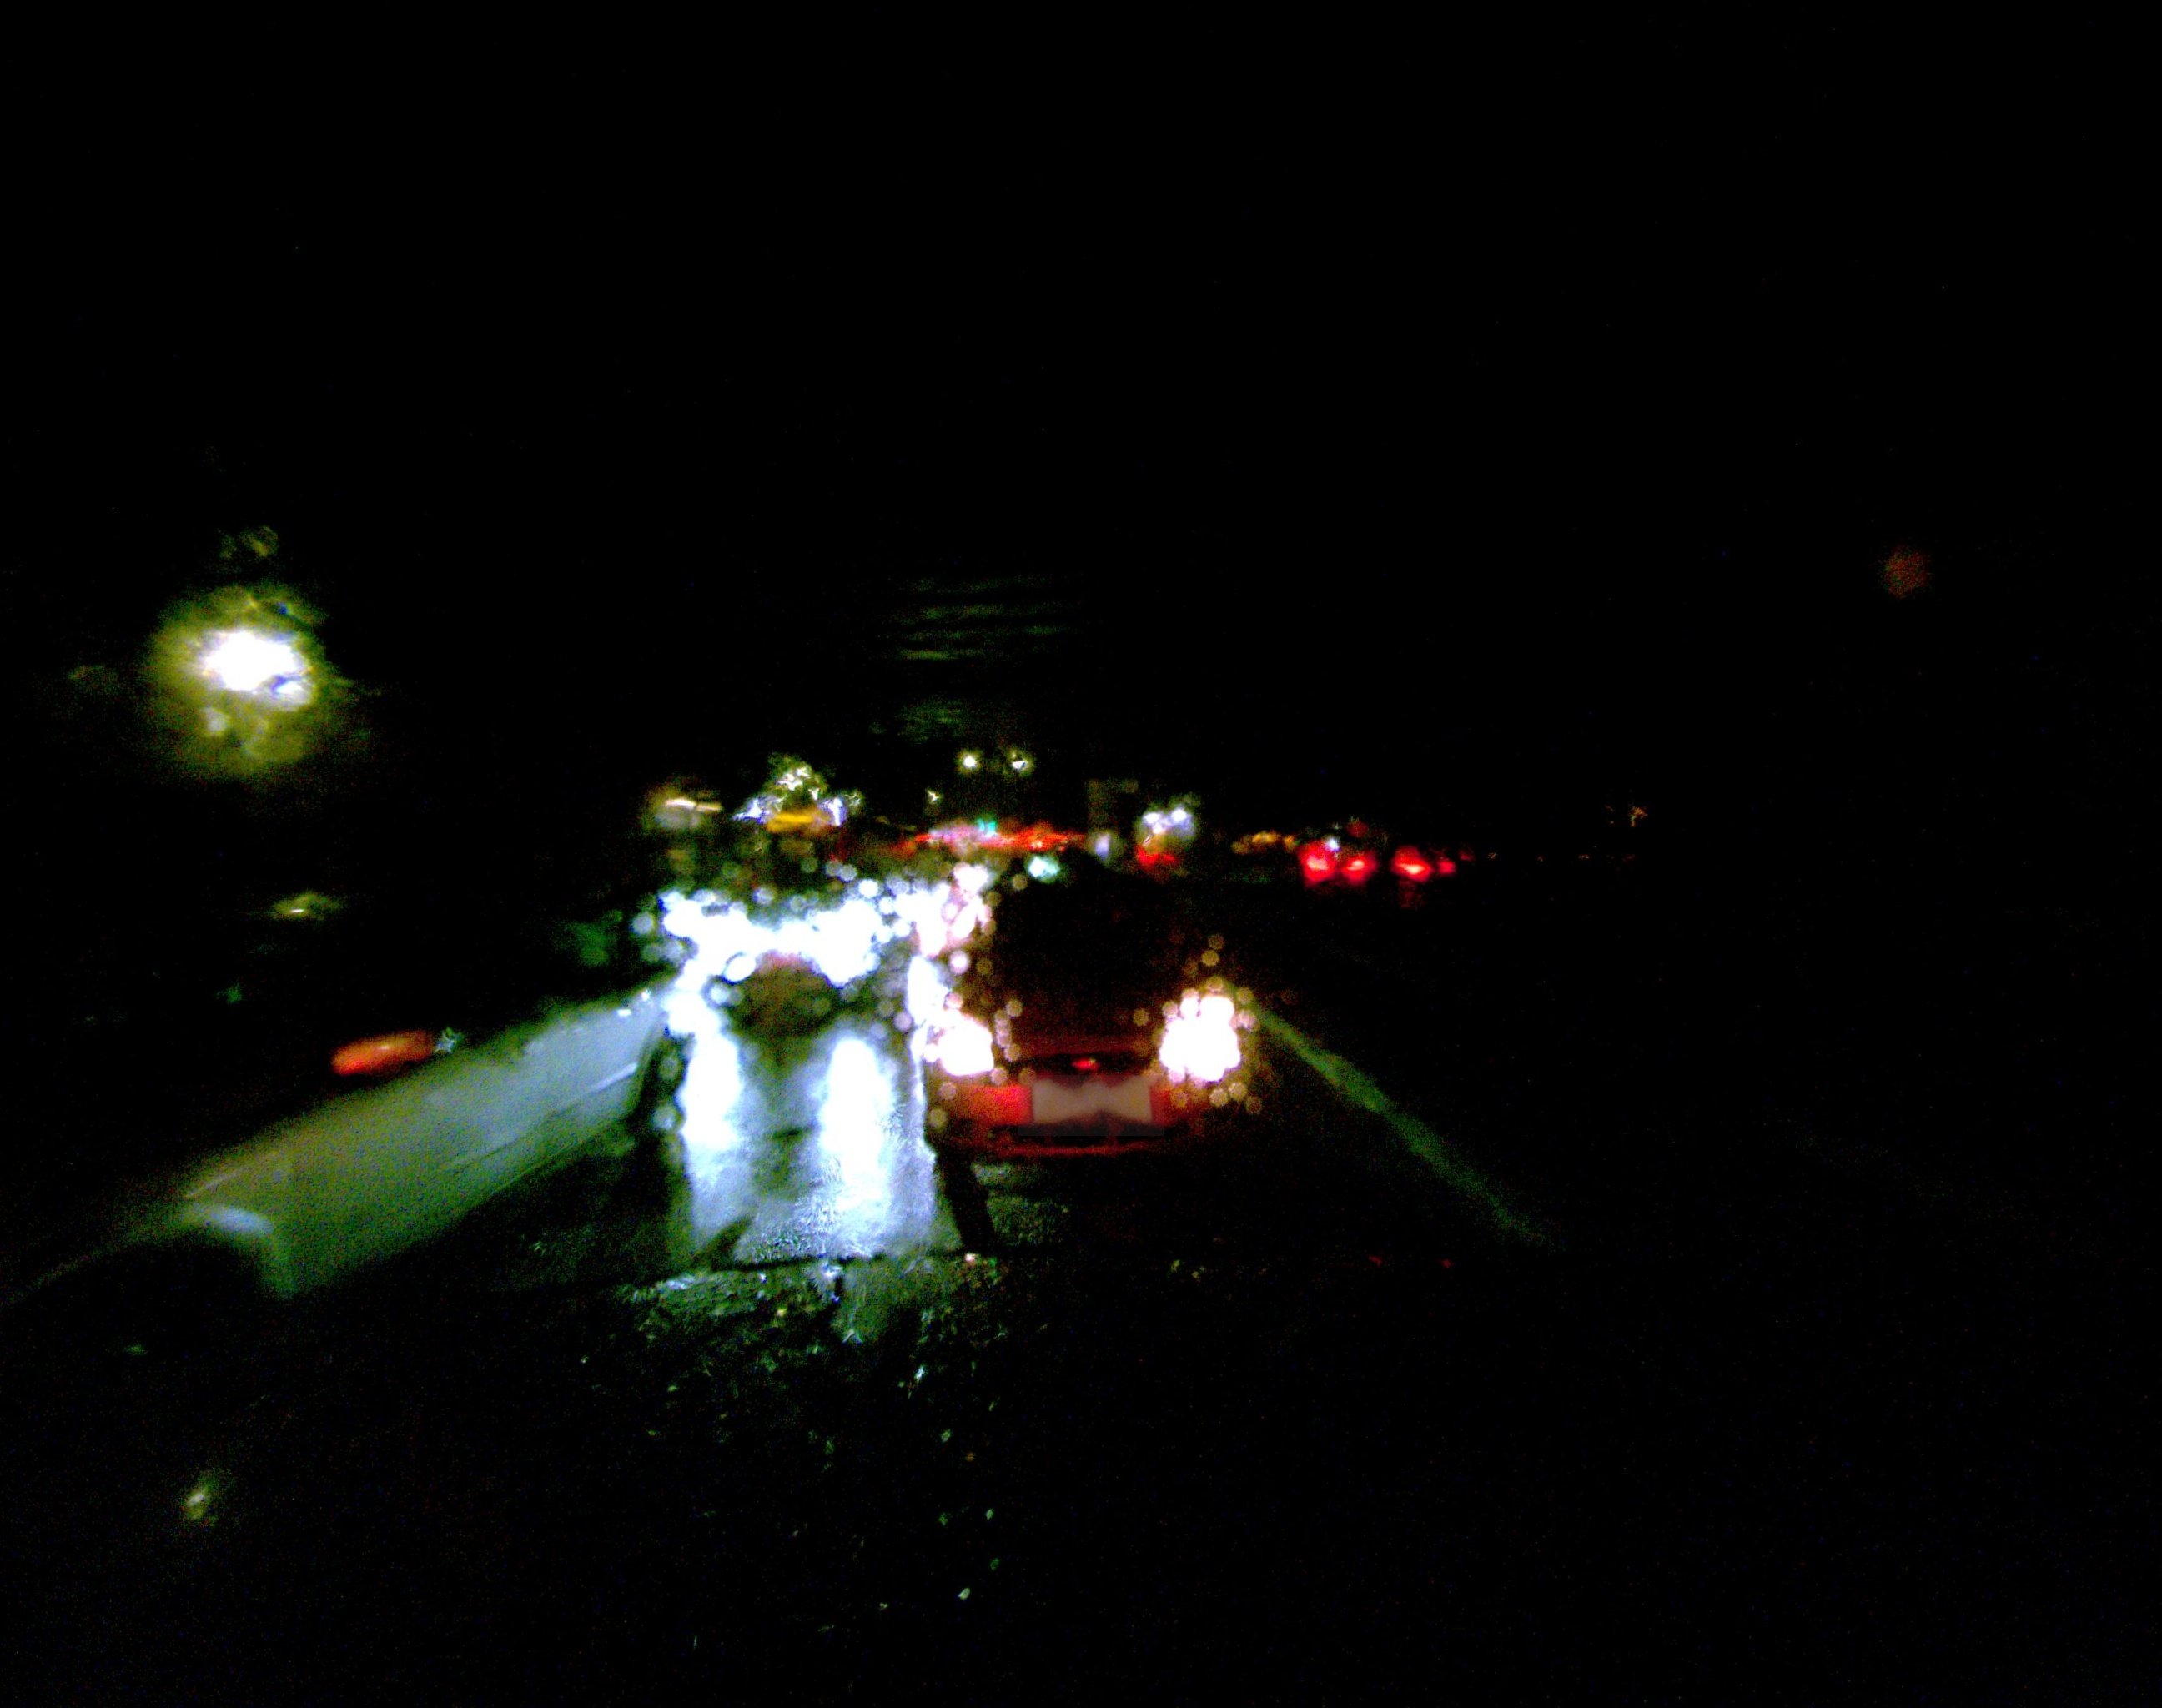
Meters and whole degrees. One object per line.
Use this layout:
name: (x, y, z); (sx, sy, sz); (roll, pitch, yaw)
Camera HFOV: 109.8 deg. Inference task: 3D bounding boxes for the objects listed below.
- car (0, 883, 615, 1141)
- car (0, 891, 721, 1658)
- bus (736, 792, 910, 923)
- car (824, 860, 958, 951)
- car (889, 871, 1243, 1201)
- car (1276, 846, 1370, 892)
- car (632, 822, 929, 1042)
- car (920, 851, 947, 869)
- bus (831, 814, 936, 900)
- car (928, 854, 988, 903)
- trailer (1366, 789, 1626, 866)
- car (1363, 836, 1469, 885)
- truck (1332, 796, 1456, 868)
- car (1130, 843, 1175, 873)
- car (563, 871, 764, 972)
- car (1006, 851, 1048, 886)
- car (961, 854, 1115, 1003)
car: (-6.509, 1.063, 6.903); (1.756, 1.382, 4.566); (-2, 0, -1)
car: (-3.174, 0.998, 2.706); (1.792, 1.359, 3.999); (-2, 2, 0)
bus: (-7.391, 0.098, 23.445); (2.777, 3.105, 9.757); (-2, 0, -5)
car: (-3.703, 0.937, 15.490); (1.869, 1.503, 3.765); (-2, 1, -3)
car: (-0.043, 0.902, 5.525); (1.603, 1.360, 3.942); (-2, 1, 1)
car: (8.819, 0.489, 28.073); (1.999, 1.510, 3.998); (-2, 1, -3)
car: (-3.365, 0.741, 9.595); (1.999, 2.076, 4.347); (-2, 1, -1)
car: (-12.652, 0.496, 64.954); (1.685, 1.463, 3.993); (-3, 1, -18)
bus: (-8.267, 0.134, 33.158); (2.777, 3.105, 9.757); (-2, 0, -5)
car: (-4.267, 0.796, 26.823); (1.630, 1.494, 3.998); (-2, 1, -3)
trailer: (25.858, -1.603, 48.151); (13.903, 4.152, 3.971); (-2, 1, 6)
car: (12.201, 0.210, 27.999); (1.823, 1.595, 4.141); (-2, 1, -4)
truck: (19.862, -1.378, 48.707); (6.369, 4.152, 3.971); (-2, 1, 6)
car: (4.917, 0.273, 52.875); (2.000, 1.915, 3.995); (-2, 1, -12)
car: (-7.167, 1.077, 13.518); (1.755, 1.422, 3.758); (-1, 0, -5)
car: (-2.706, 0.666, 37.330); (1.882, 1.534, 3.997); (-2, 1, -6)
car: (-0.463, 0.844, 10.635); (1.683, 1.591, 3.996); (-2, 1, 1)
